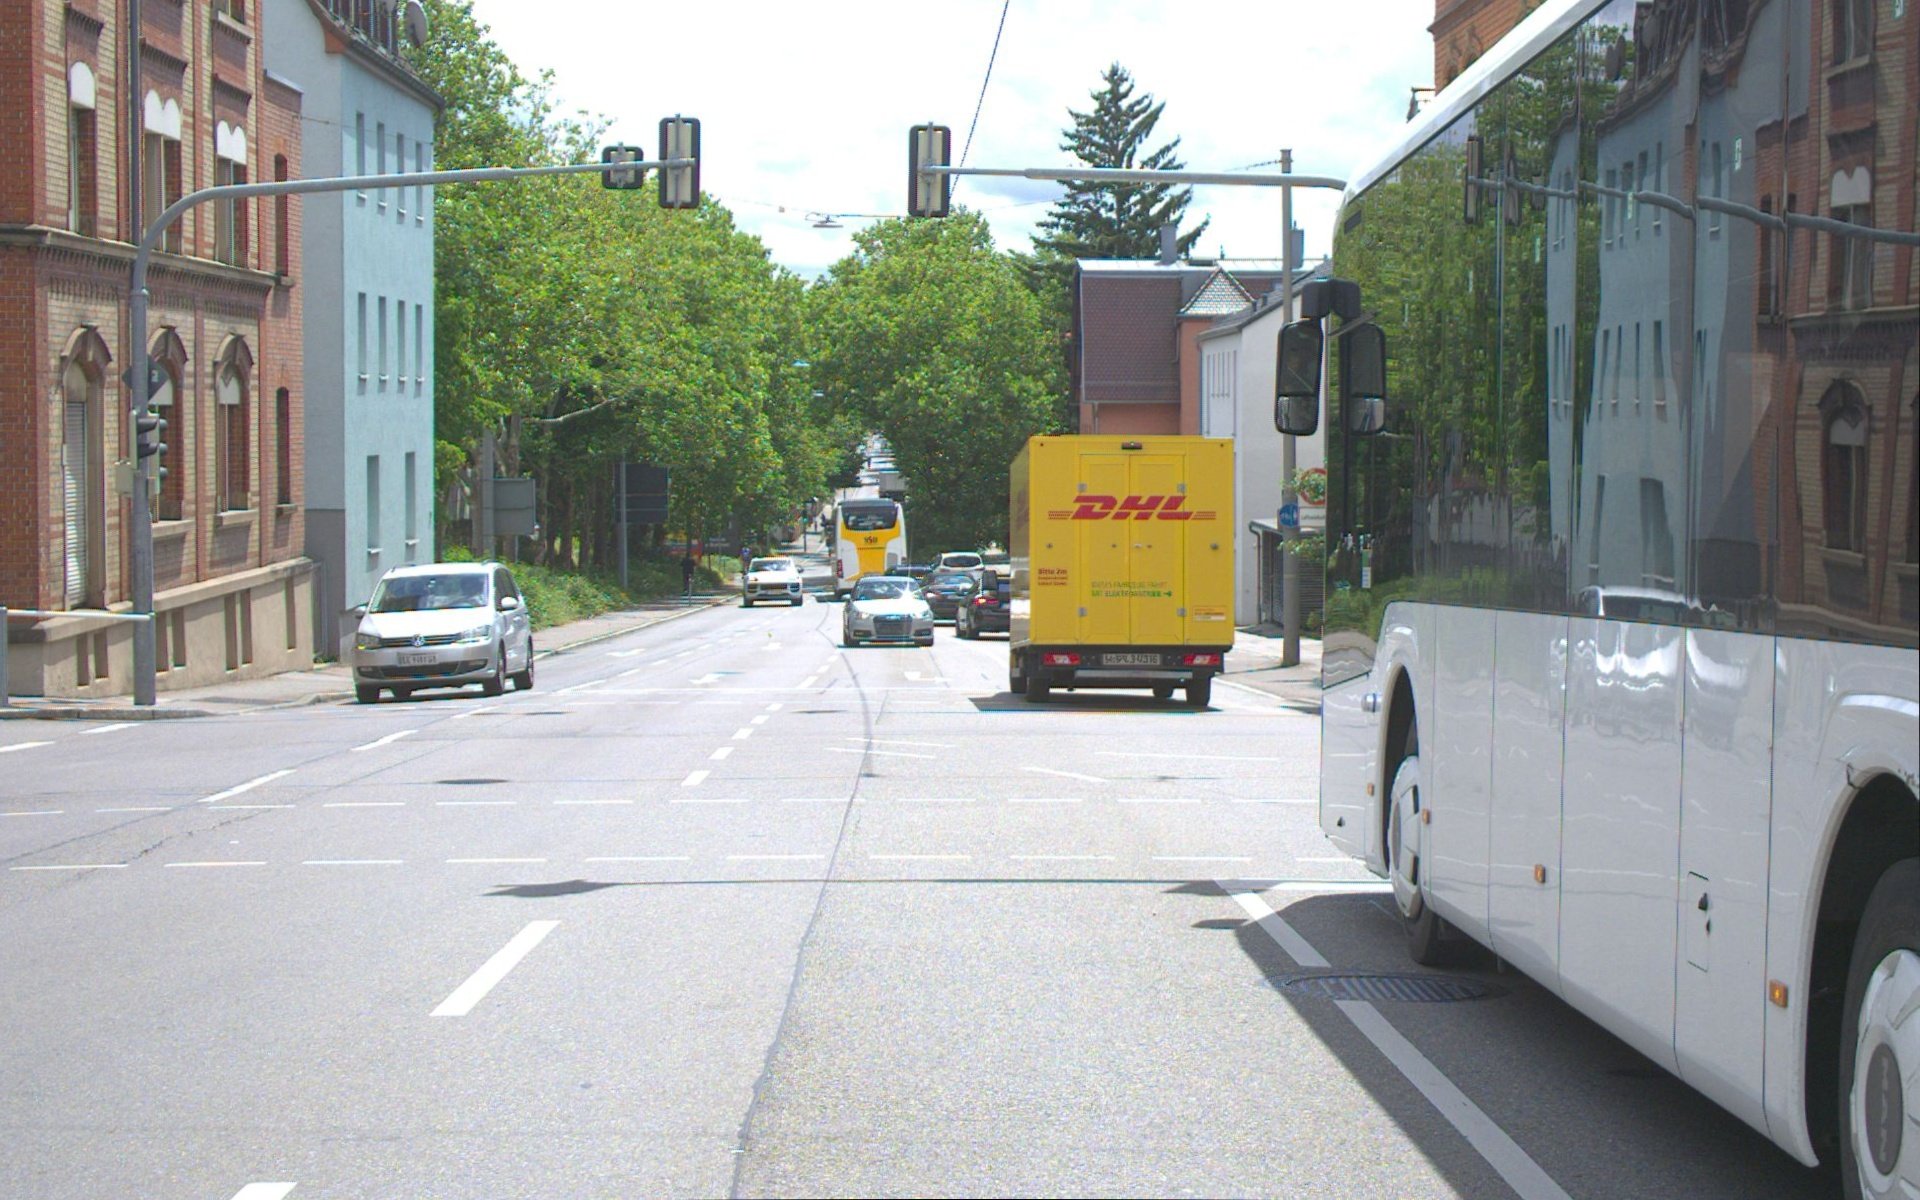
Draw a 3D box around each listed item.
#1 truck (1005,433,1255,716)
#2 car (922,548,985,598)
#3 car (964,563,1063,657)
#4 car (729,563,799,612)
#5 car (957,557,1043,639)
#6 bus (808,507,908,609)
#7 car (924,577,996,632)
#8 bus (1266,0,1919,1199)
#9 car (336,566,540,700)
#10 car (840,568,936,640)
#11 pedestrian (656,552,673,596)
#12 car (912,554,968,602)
[{"bbox_3d":[1.807,-0.297,38.915,2.541,2.903,6.572,1,1,1],"label":"truck"},{"bbox_3d":[-0.260,-1.028,129.554,2.091,1.824,4.143,0,1,-4],"label":"car"},{"bbox_3d":[1.176,0.195,77.335,1.993,2.007,4.001,-1,1,-2],"label":"car"},{"bbox_3d":[-6.743,-0.442,118.546,2.207,1.607,4.547,-1,1,-1],"label":"car"},{"bbox_3d":[0.881,-0.067,77.315,1.819,1.778,4.000,-1,1,-1],"label":"car"},{"bbox_3d":[-3.903,-1.598,128.782,3.300,3.618,11.246,-1,1,-4],"label":"bus"},{"bbox_3d":[-0.022,0.098,91.165,1.865,1.363,4.547,-1,1,-1],"label":"car"},{"bbox_3d":[2.944,-0.364,9.393,2.904,3.498,12.488,1,1,-1],"label":"bus"},{"bbox_3d":[-6.516,0.372,43.318,1.935,1.558,4.389,-1,1,-1],"label":"car"},{"bbox_3d":[-1.429,0.057,69.365,1.865,1.363,4.547,-1,1,-1],"label":"car"},{"bbox_3d":[-11.738,-1.023,136.522,0.606,1.752,0.654,-1,1,-2],"label":"pedestrian"},{"bbox_3d":[-0.606,-0.661,101.293,1.608,1.371,4.000,0,1,-1],"label":"car"}]
